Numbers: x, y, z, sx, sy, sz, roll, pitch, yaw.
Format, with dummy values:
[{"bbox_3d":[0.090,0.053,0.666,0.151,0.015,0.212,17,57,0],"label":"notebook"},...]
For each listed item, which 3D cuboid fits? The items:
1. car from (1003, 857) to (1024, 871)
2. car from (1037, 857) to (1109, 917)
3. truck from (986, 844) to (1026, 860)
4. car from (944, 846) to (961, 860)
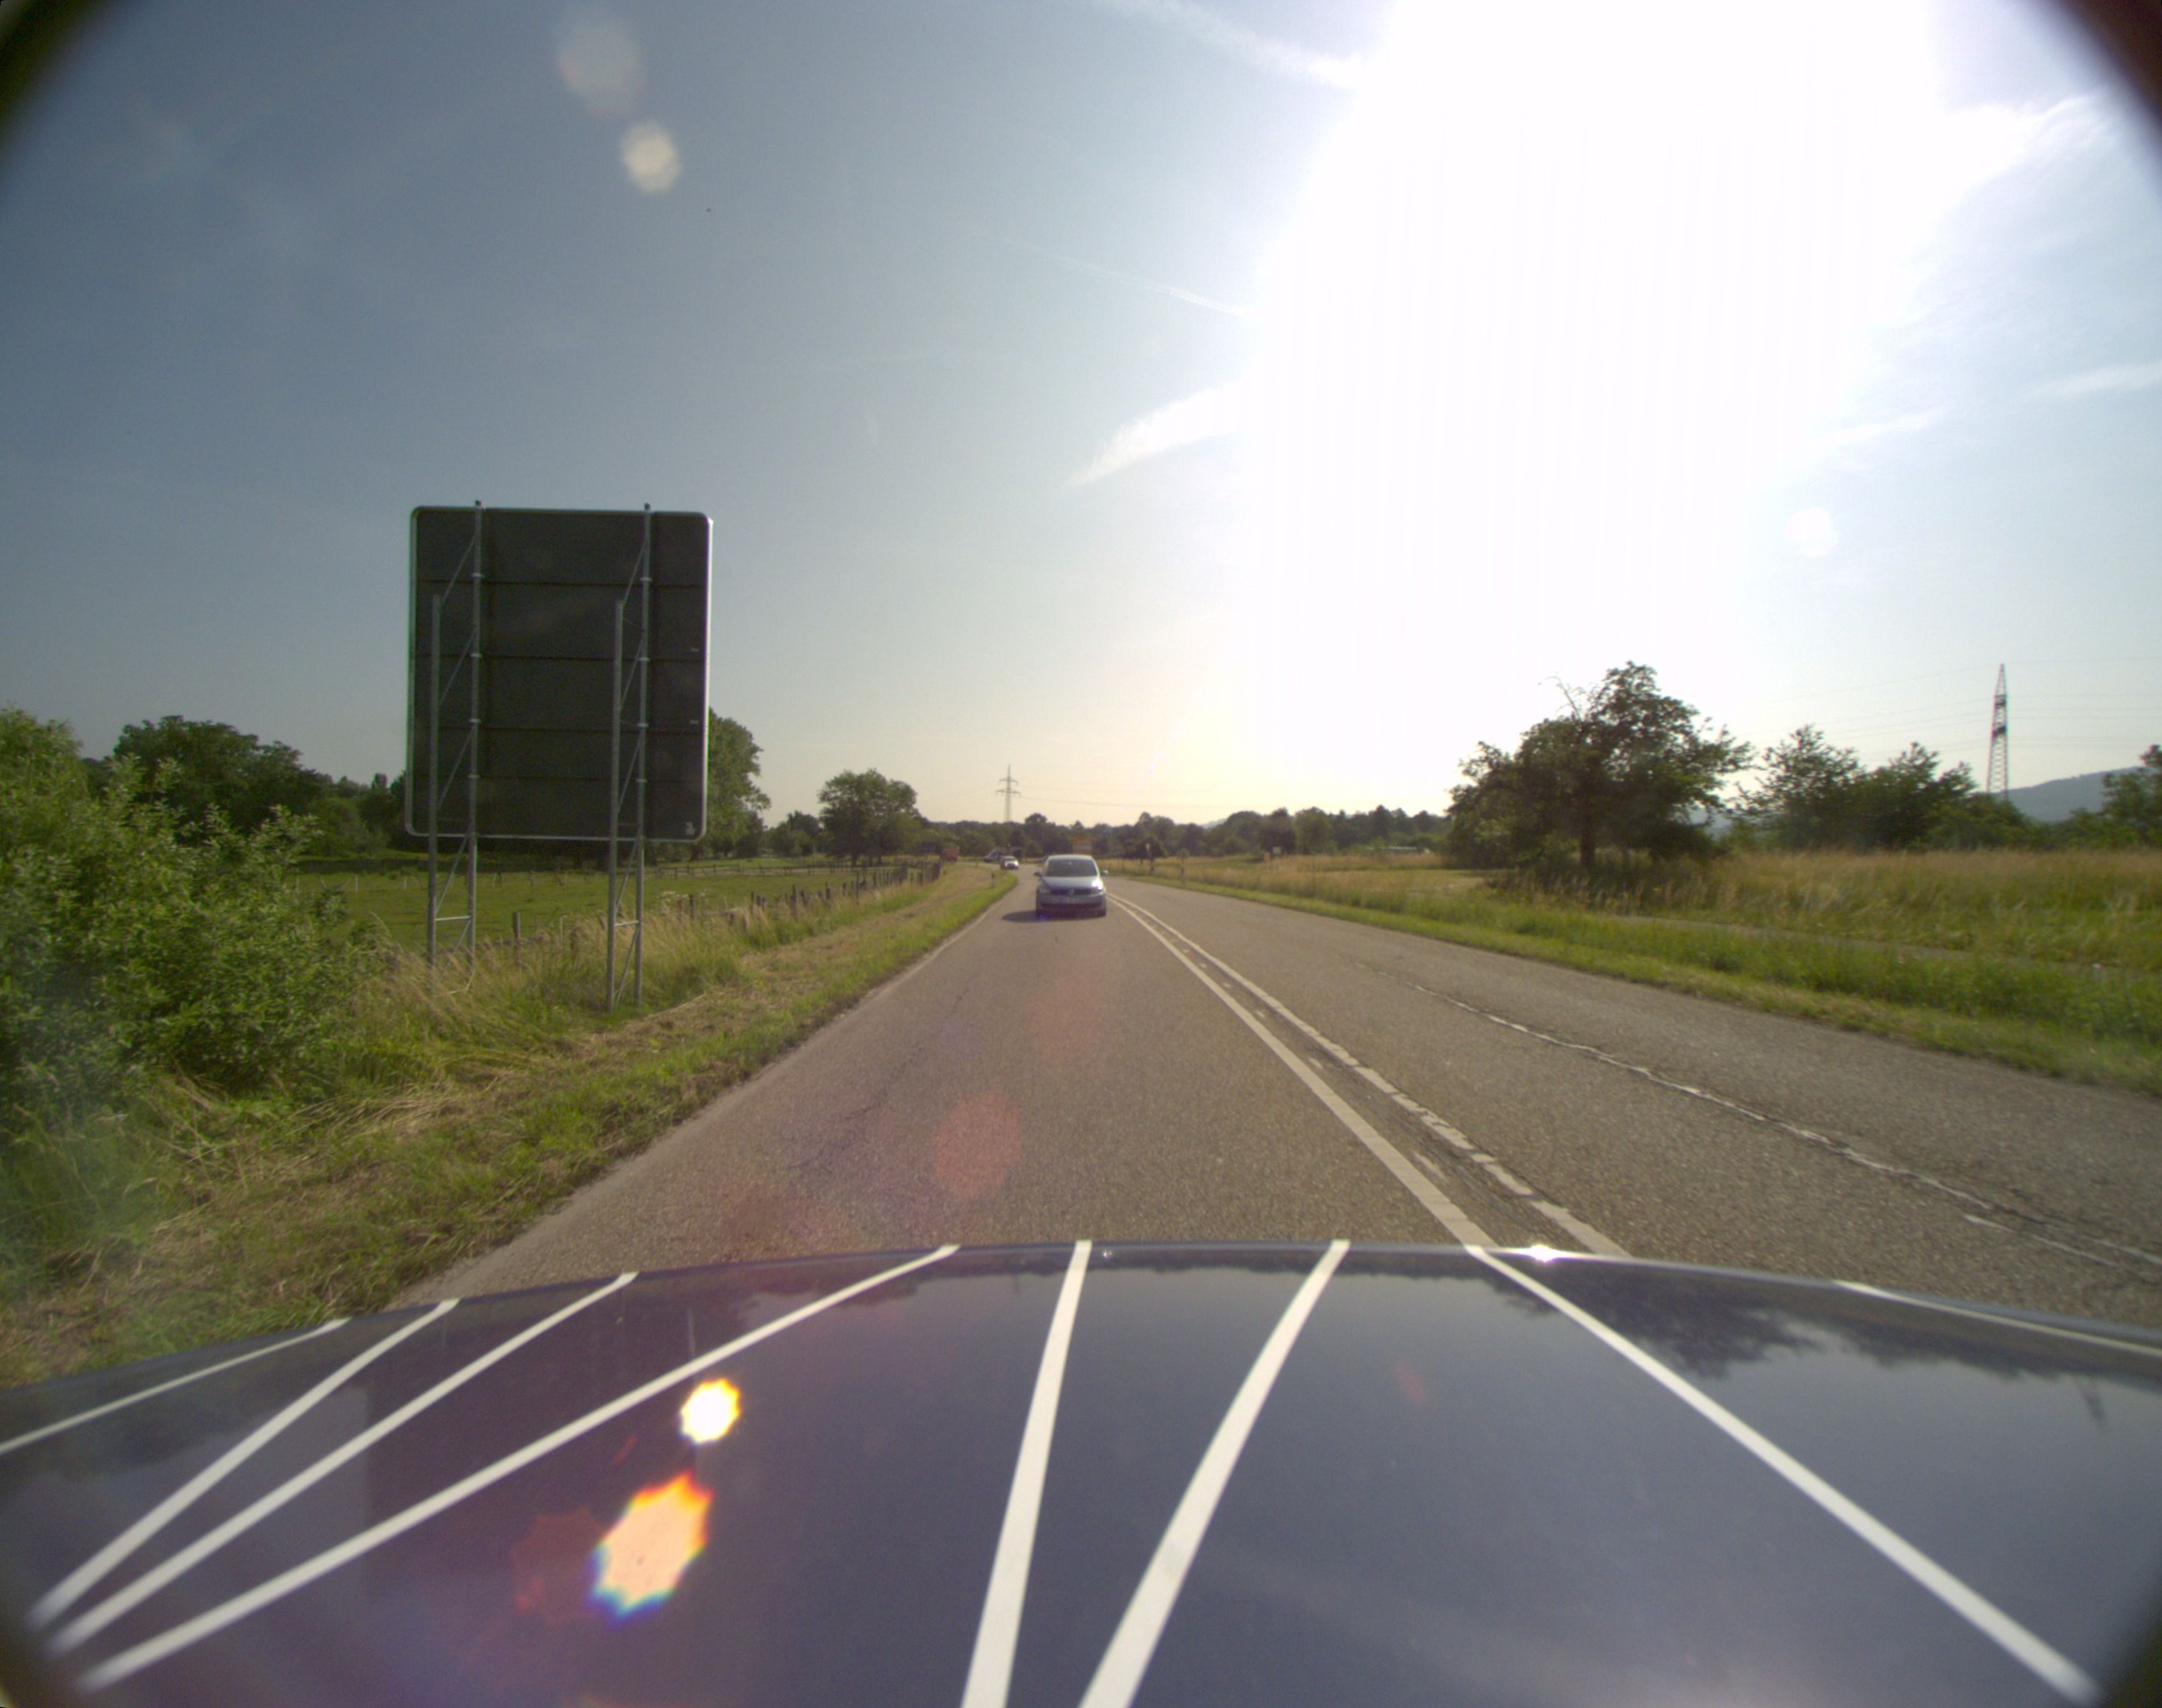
[{"bbox_3d":[-8.064,1.148,90.569,2.000,1.570,3.905,0,0,-11],"label":"car"},{"bbox_3d":[-0.317,0.846,21.687,1.719,1.495,4.091,-1,0,-5],"label":"car"},{"bbox_3d":[-14.127,-0.321,143.257,7.366,3.028,2.581,0,1,-10],"label":"truck"},{"bbox_3d":[-24.883,-0.132,146.915,2.133,2.680,5.258,0,0,-21],"label":"car"}]
